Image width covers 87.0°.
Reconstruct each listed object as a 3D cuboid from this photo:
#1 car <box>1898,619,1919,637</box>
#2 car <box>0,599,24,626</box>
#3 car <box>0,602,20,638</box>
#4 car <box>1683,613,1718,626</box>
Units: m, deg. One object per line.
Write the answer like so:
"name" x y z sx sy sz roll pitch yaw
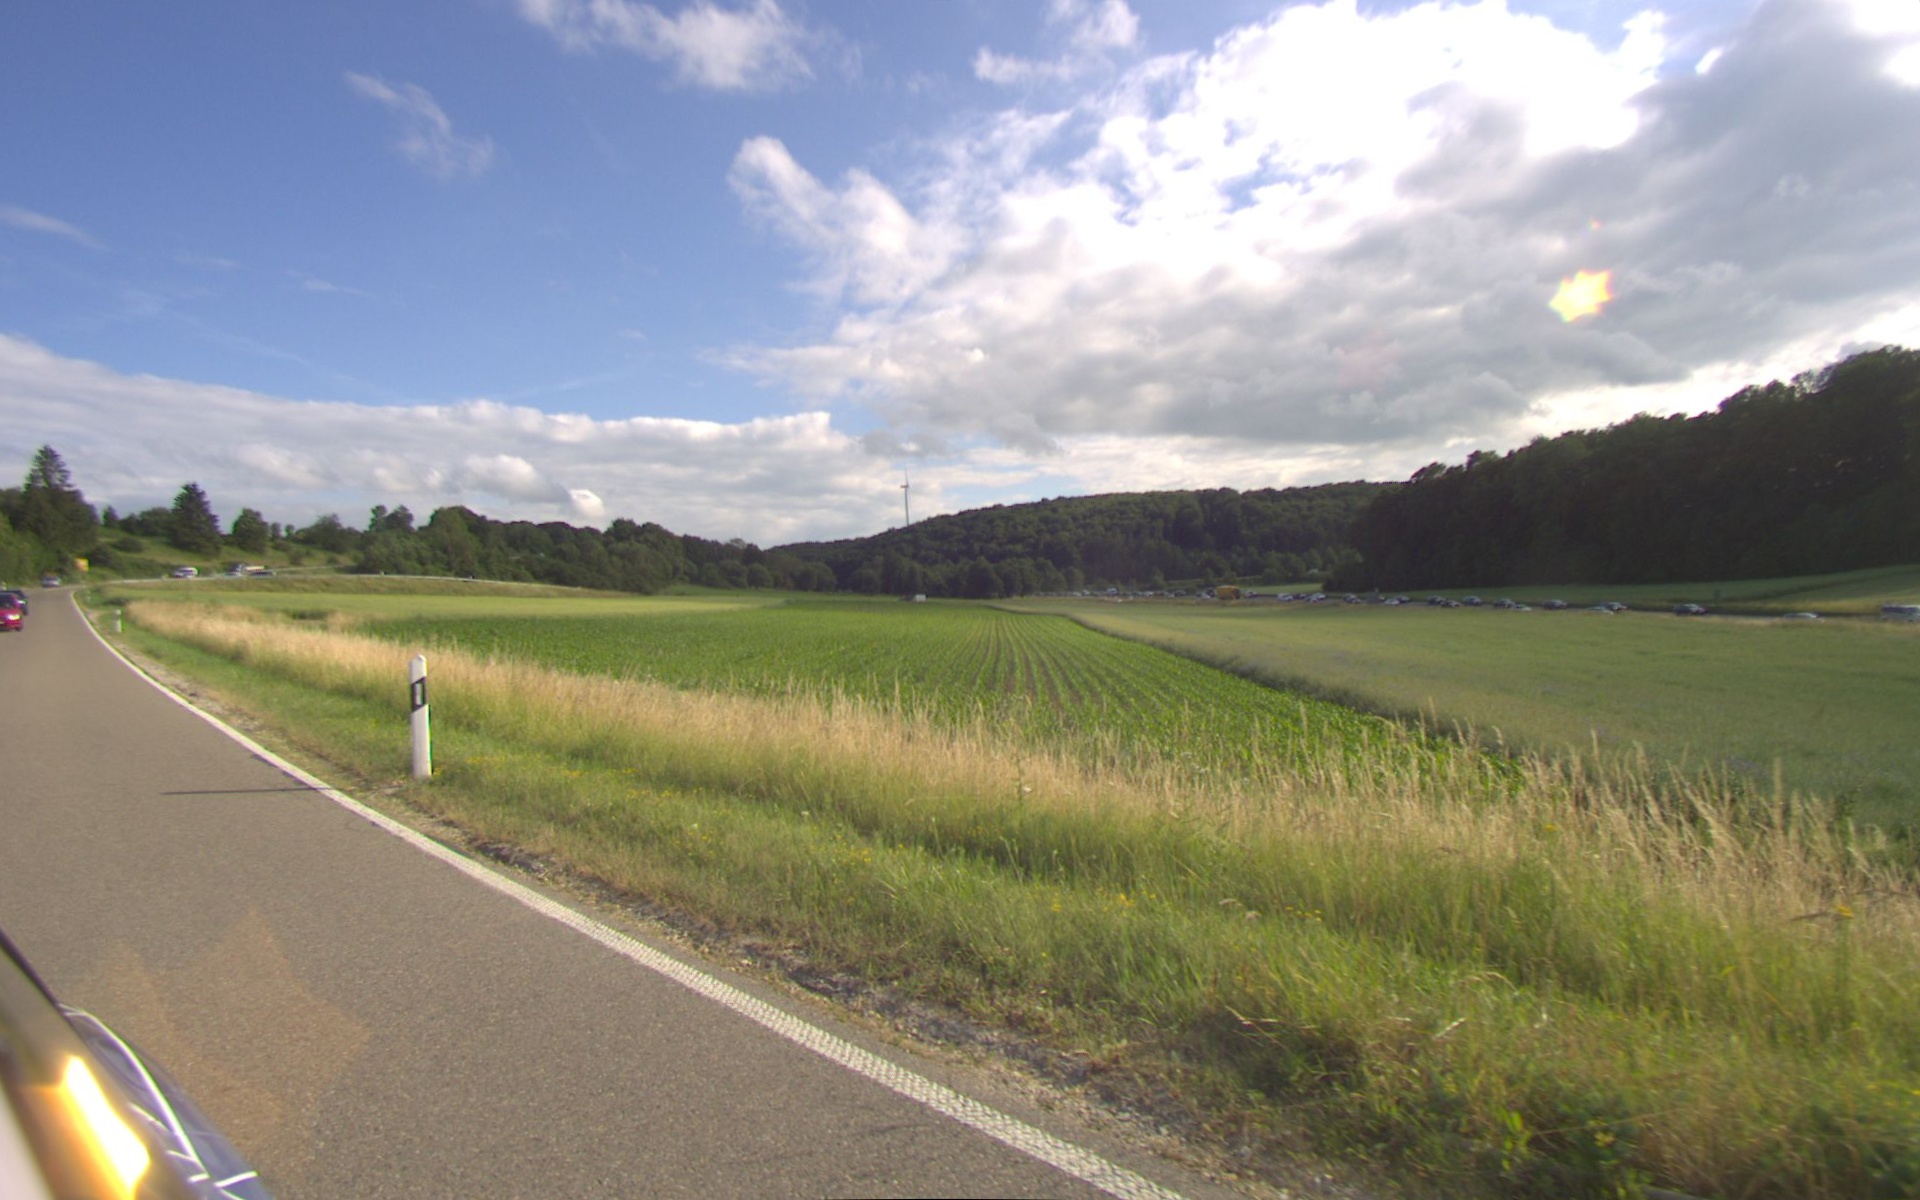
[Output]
"car" 95.038 2.771 99.505 1.974 1.741 3.995 1 0 4
"car" -60.299 0.807 63.829 1.795 1.623 4.004 1 -2 -43
"car" -46.106 0.935 48.243 1.795 1.667 4.003 1 -1 -44
"car" 96.969 2.524 132.598 1.780 1.599 3.995 -2 0 4
